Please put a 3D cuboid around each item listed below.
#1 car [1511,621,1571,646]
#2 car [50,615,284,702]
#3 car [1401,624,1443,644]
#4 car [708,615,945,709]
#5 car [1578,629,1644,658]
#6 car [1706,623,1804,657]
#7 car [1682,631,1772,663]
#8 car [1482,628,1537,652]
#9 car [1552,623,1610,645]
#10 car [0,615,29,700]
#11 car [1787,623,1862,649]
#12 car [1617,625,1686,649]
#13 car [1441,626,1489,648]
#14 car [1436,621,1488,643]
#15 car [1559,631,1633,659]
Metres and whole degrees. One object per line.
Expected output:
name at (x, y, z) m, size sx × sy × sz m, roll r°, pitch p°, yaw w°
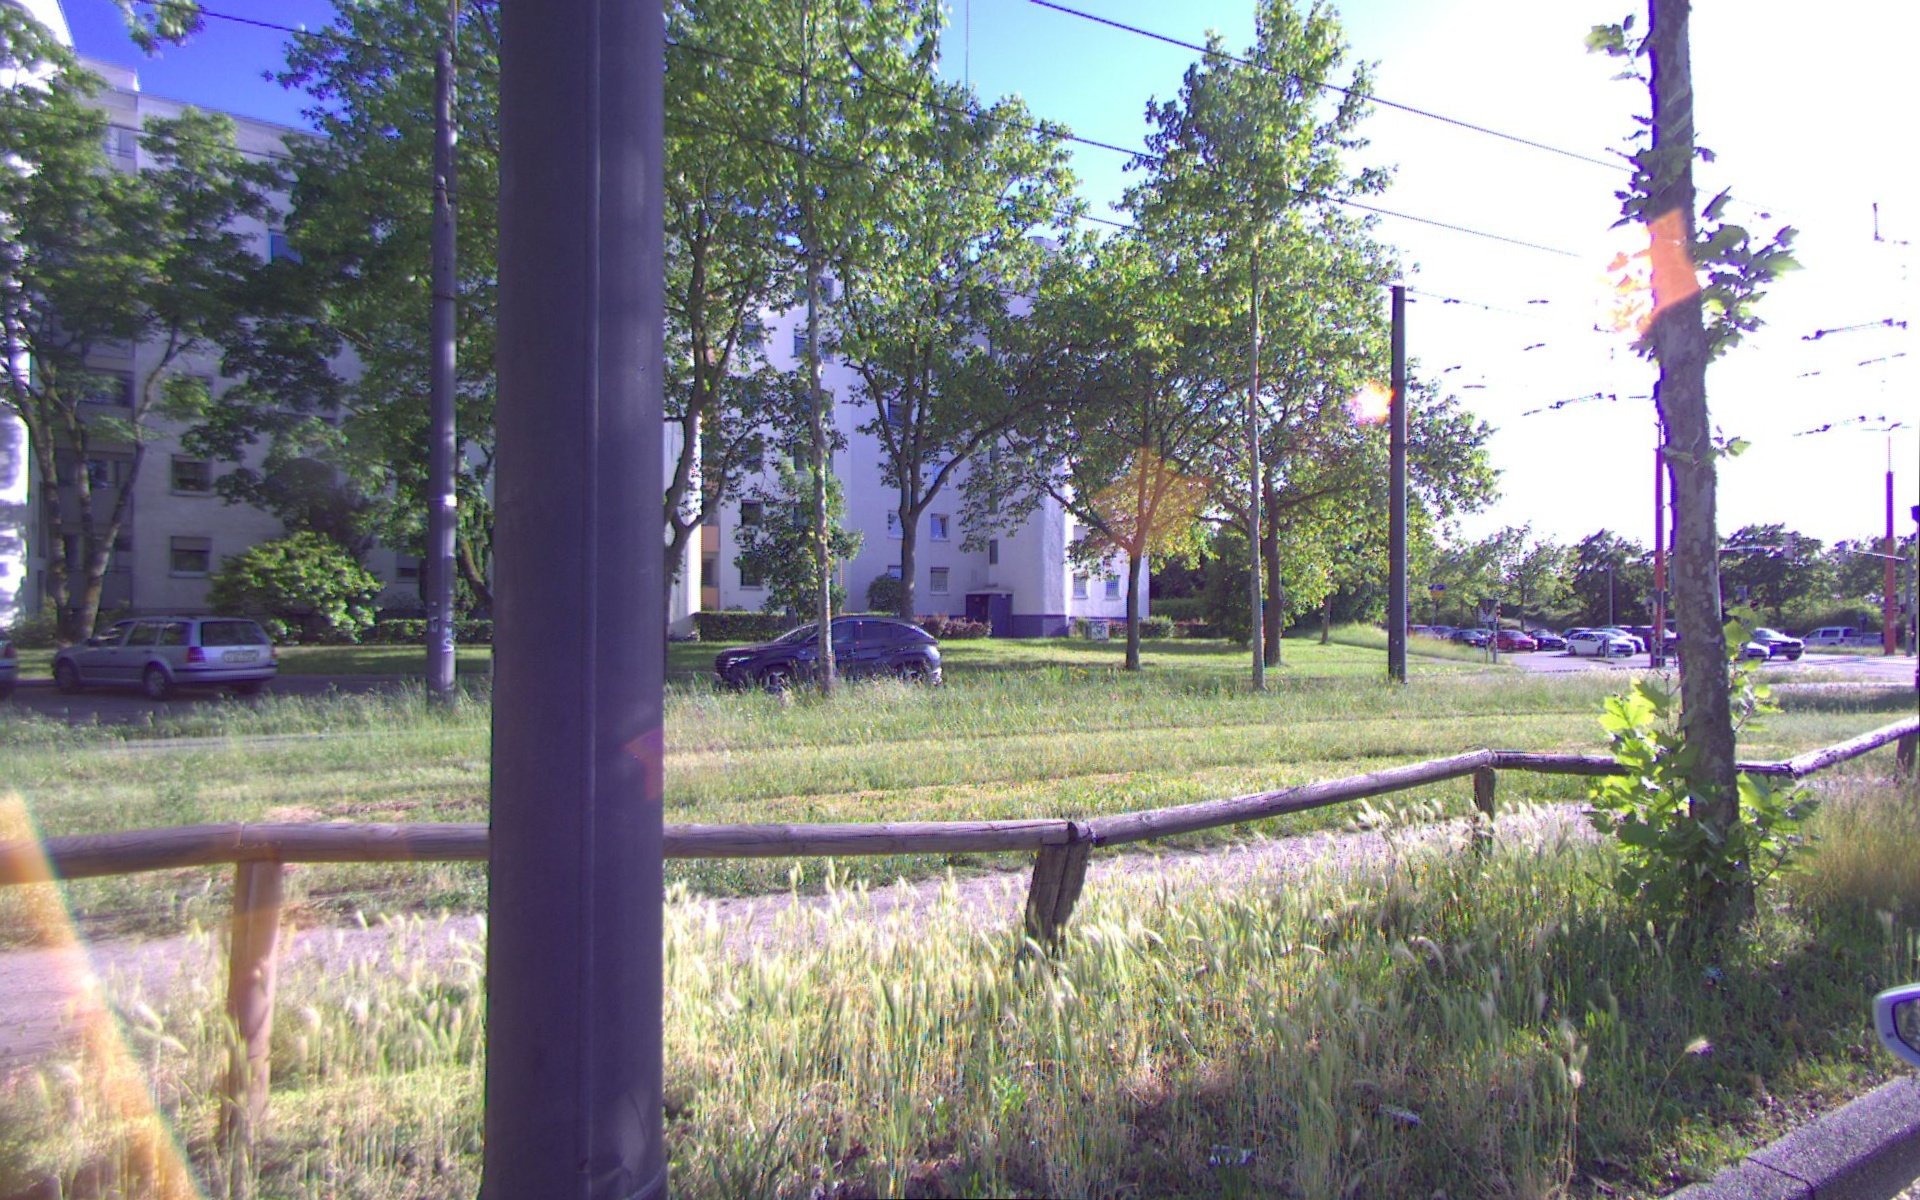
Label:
car at (42.255, 2.421, 73.152) m, size 1.721 × 1.669 × 4.644 m, roll 1°, pitch -1°, yaw 1°
car at (-14.535, 1.010, 18.428) m, size 3.830 × 1.421 × 1.581 m, roll 1°, pitch 0°, yaw 20°
car at (38.743, 2.807, 84.312) m, size 1.624 × 1.540 × 4.200 m, roll 1°, pitch -1°, yaw 1°
car at (-2.541, 1.134, 19.393) m, size 4.243 × 1.640 × 1.644 m, roll 1°, pitch -1°, yaw -30°
car at (42.177, 2.788, 65.205) m, size 1.623 × 1.714 × 4.343 m, roll 1°, pitch -1°, yaw 2°
car at (42.619, 2.113, 54.020) m, size 1.624 × 1.669 × 4.644 m, roll 1°, pitch -1°, yaw 1°
car at (39.058, 2.355, 51.256) m, size 1.624 × 1.460 × 3.841 m, roll 1°, pitch -1°, yaw -2°
car at (38.447, 2.775, 70.406) m, size 1.624 × 1.540 × 4.200 m, roll 1°, pitch -1°, yaw 1°
car at (45.302, 2.456, 73.329) m, size 1.513 × 1.434 × 4.154 m, roll 1°, pitch -1°, yaw -3°
car at (-17.985, 0.947, 17.154) m, size 3.567 × 1.421 × 1.581 m, roll 1°, pitch 0°, yaw 20°
car at (63.219, 2.636, 73.533) m, size 1.626 × 1.773 × 4.128 m, roll 1°, pitch -1°, yaw -7°
car at (45.401, 2.424, 66.033) m, size 1.513 × 1.434 × 4.154 m, roll 1°, pitch -1°, yaw -3°
car at (38.656, 2.812, 76.962) m, size 1.624 × 1.540 × 4.200 m, roll 1°, pitch -1°, yaw 1°
car at (41.853, 2.633, 83.833) m, size 1.723 × 1.669 × 4.640 m, roll 1°, pitch -1°, yaw -5°
car at (38.909, 2.743, 61.595) m, size 1.624 × 1.540 × 4.638 m, roll 1°, pitch -1°, yaw 1°
